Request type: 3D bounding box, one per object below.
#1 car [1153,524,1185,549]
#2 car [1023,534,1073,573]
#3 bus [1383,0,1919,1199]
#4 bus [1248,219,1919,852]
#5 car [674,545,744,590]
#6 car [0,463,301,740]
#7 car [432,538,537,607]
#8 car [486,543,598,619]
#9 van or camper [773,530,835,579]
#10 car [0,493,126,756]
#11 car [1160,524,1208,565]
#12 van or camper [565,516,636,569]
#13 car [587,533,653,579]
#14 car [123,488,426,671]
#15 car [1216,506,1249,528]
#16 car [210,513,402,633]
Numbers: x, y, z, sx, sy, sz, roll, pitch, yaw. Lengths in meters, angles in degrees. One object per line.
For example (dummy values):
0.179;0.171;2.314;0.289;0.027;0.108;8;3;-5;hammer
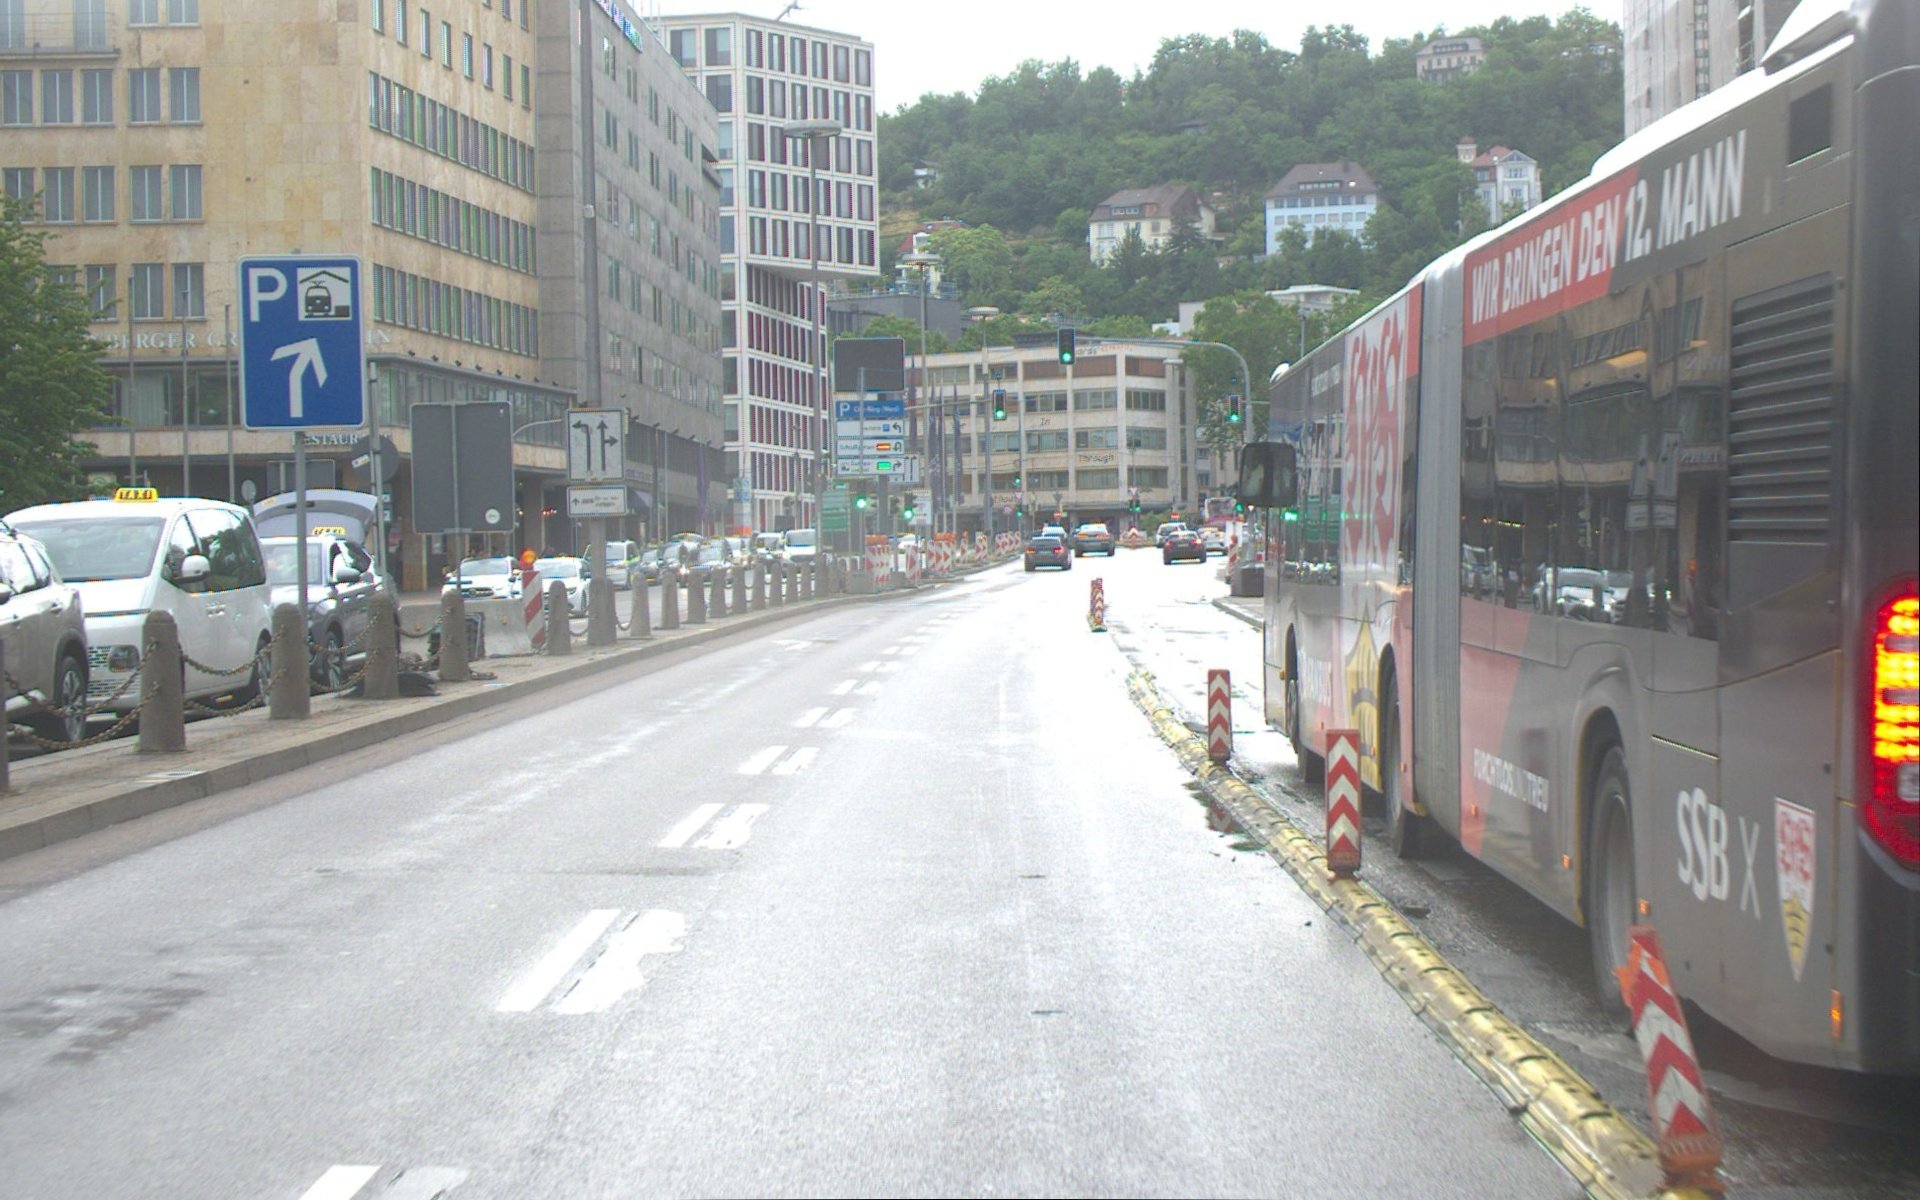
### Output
12.640;-3.836;208.227;1.819;1.437;4.000;0;2;2;car
3.687;-1.952;144.453;1.993;1.546;4.000;-2;1;1;car
3.371;-0.194;12.050;2.755;3.058;9.080;0;1;1;bus
3.470;-0.401;21.106;2.755;3.055;8.993;0;1;1;bus
-9.780;-1.289;134.185;1.994;1.611;4.977;-2;1;4;car
-7.374;-0.055;30.023;1.993;2.171;5.544;-1;2;1;car
-12.447;-0.746;90.333;1.962;1.559;4.836;-3;2;1;car
-9.917;-0.490;81.915;1.962;1.559;4.836;-3;2;1;car
-6.574;-1.955;145.473;1.994;2.007;5.189;-1;1;4;van or camper
-7.554;0.190;24.528;1.930;1.800;4.582;-3;1;1;car
9.878;-2.469;151.873;1.994;1.700;4.000;-2;1;2;car
-13.916;-2.234;133.367;1.994;2.007;4.965;0;1;3;van or camper
-13.754;-1.782;139.159;1.994;1.831;4.000;0;1;4;car
-7.000;-0.266;35.620;1.993;1.716;4.782;-1;2;2;car
18.028;-5.505;227.859;1.993;1.437;4.000;0;2;2;car
-9.081;-0.401;48.029;1.993;1.546;4.001;-2;1;-2;car
